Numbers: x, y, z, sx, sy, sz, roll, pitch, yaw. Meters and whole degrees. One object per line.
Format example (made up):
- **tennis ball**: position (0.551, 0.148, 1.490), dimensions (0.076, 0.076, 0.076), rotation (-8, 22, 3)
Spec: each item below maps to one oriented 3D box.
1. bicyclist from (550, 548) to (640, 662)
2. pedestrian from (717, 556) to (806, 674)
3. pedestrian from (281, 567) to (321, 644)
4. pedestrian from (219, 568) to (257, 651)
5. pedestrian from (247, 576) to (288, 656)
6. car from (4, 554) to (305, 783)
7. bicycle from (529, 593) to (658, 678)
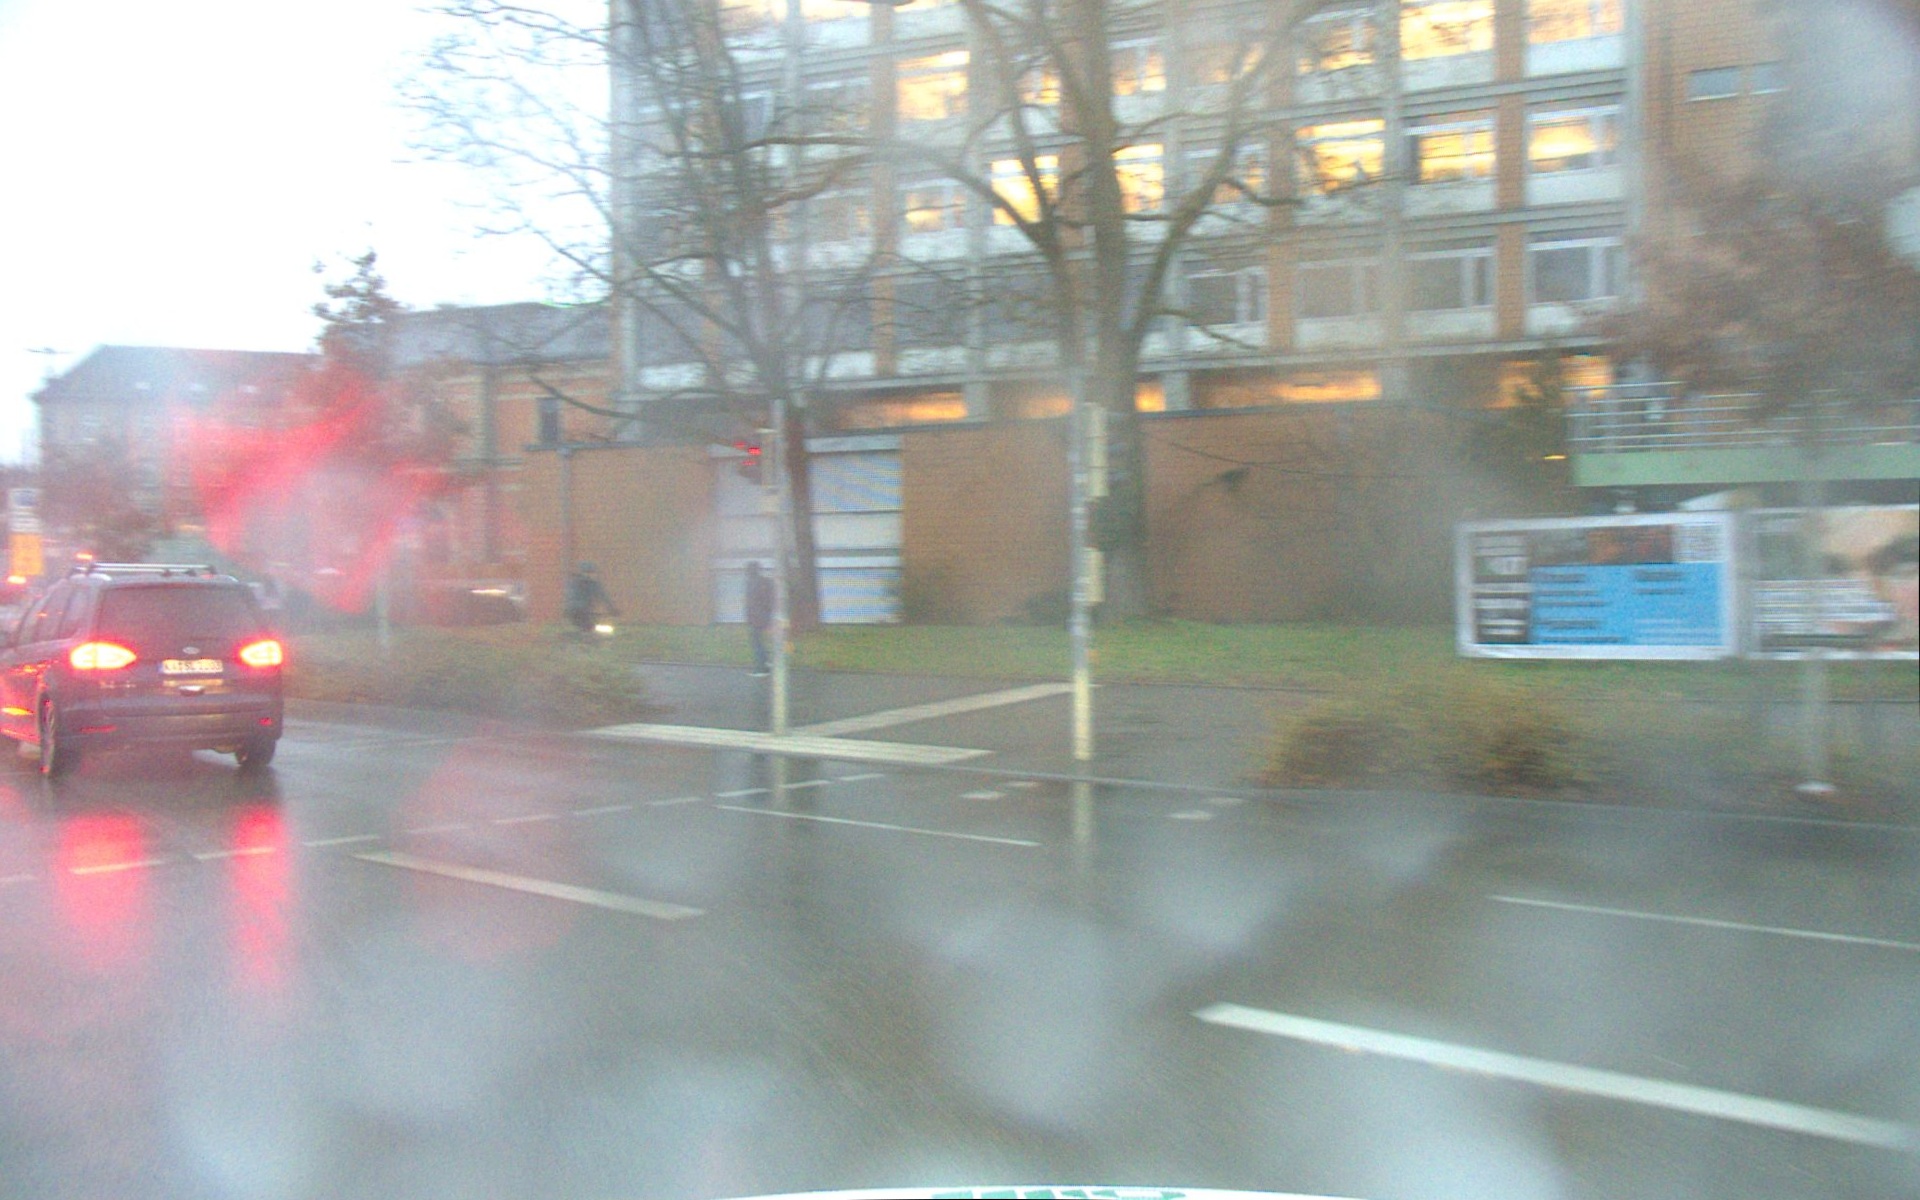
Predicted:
- **bicyclist**: position (-5.530, 0.063, 25.029), dimensions (1.067, 1.645, 0.801), rotation (1, 4, 44)
- **pedestrian**: position (-3.025, 0.214, 25.188), dimensions (1.052, 1.717, 0.804), rotation (0, 2, 44)
- **pedestrian**: position (-14.937, 0.121, 37.514), dimensions (0.706, 1.717, 0.757), rotation (-1, 1, -15)
- **pedestrian**: position (-16.038, 0.203, 36.755), dimensions (0.574, 1.812, 0.766), rotation (-3, 1, -15)
- **pedestrian**: position (-15.463, 0.351, 36.943), dimensions (0.656, 1.716, 0.609), rotation (-3, 3, -15)
- **car**: position (-7.670, 0.518, 15.520), dimensions (1.765, 1.831, 4.366), rotation (0, 1, -37)
- **bicycle**: position (-5.584, 0.516, 25.108), dimensions (2.176, 1.161, 0.801), rotation (1, 5, 44)
